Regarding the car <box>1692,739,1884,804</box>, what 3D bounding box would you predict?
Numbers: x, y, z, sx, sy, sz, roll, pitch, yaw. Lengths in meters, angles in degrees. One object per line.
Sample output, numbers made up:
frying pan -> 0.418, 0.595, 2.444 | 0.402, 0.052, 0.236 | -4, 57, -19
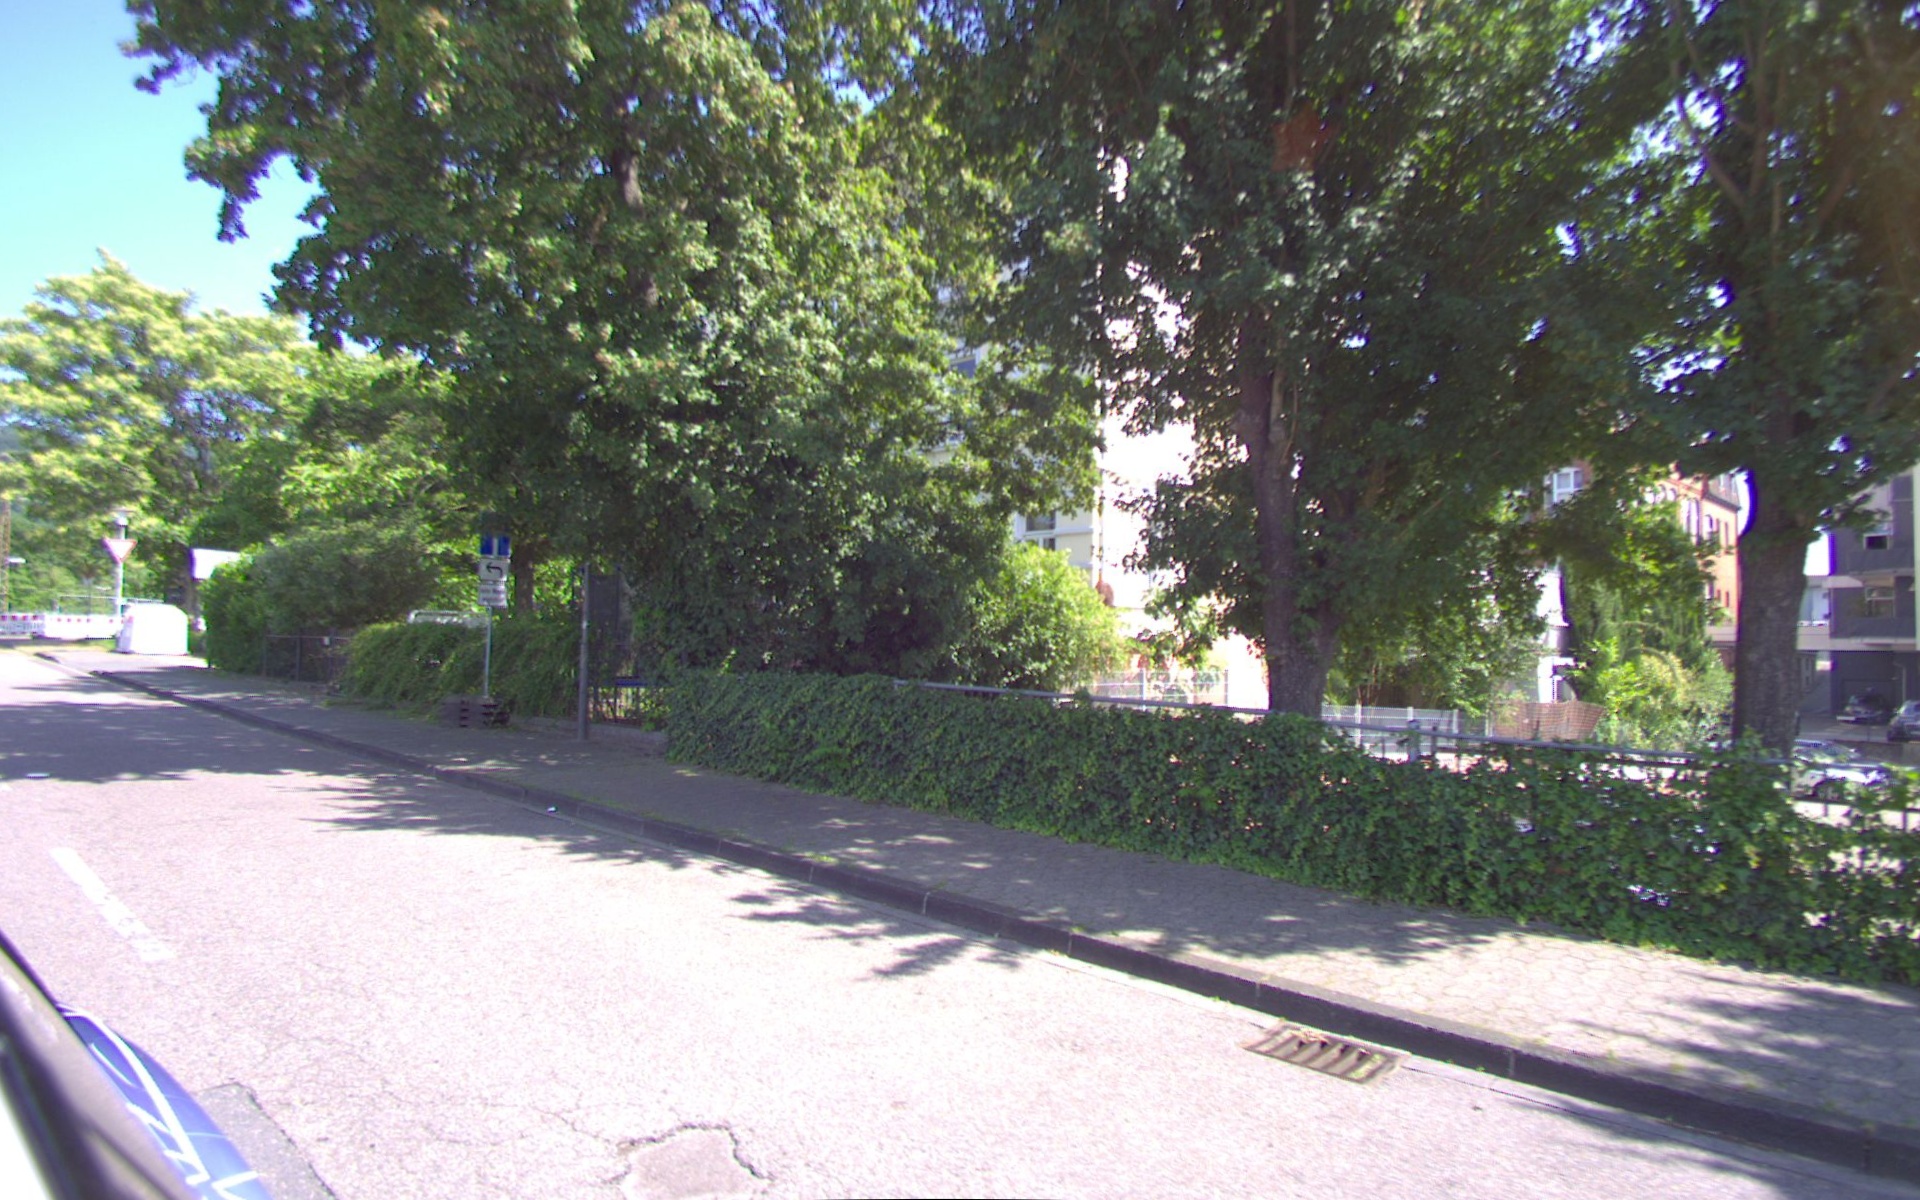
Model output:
car -> 27.084, 5.558, 33.248 | 1.794, 1.690, 4.609 | 7, -7, -40

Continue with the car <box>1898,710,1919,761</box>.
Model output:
car -> 36.500, 5.031, 37.379 | 4.528, 1.690, 2.120 | 4, -3, -39

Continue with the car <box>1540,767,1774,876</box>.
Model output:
car -> 15.614, 4.872, 22.809 | 1.969, 1.696, 4.005 | 6, -5, -42

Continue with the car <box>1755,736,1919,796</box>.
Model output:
car -> 31.286, 5.824, 35.854 | 1.794, 1.690, 4.609 | 7, -7, -40

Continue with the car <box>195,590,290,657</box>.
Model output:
car -> -23.717, 0.727, 33.367 | 1.969, 1.945, 5.109 | 6, -4, -40

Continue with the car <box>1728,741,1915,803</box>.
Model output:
car -> 29.439, 5.829, 34.721 | 1.794, 1.690, 4.609 | 7, -7, -40

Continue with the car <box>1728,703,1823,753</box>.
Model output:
car -> 33.347, 5.184, 41.351 | 4.528, 1.690, 2.120 | 4, -3, -39
